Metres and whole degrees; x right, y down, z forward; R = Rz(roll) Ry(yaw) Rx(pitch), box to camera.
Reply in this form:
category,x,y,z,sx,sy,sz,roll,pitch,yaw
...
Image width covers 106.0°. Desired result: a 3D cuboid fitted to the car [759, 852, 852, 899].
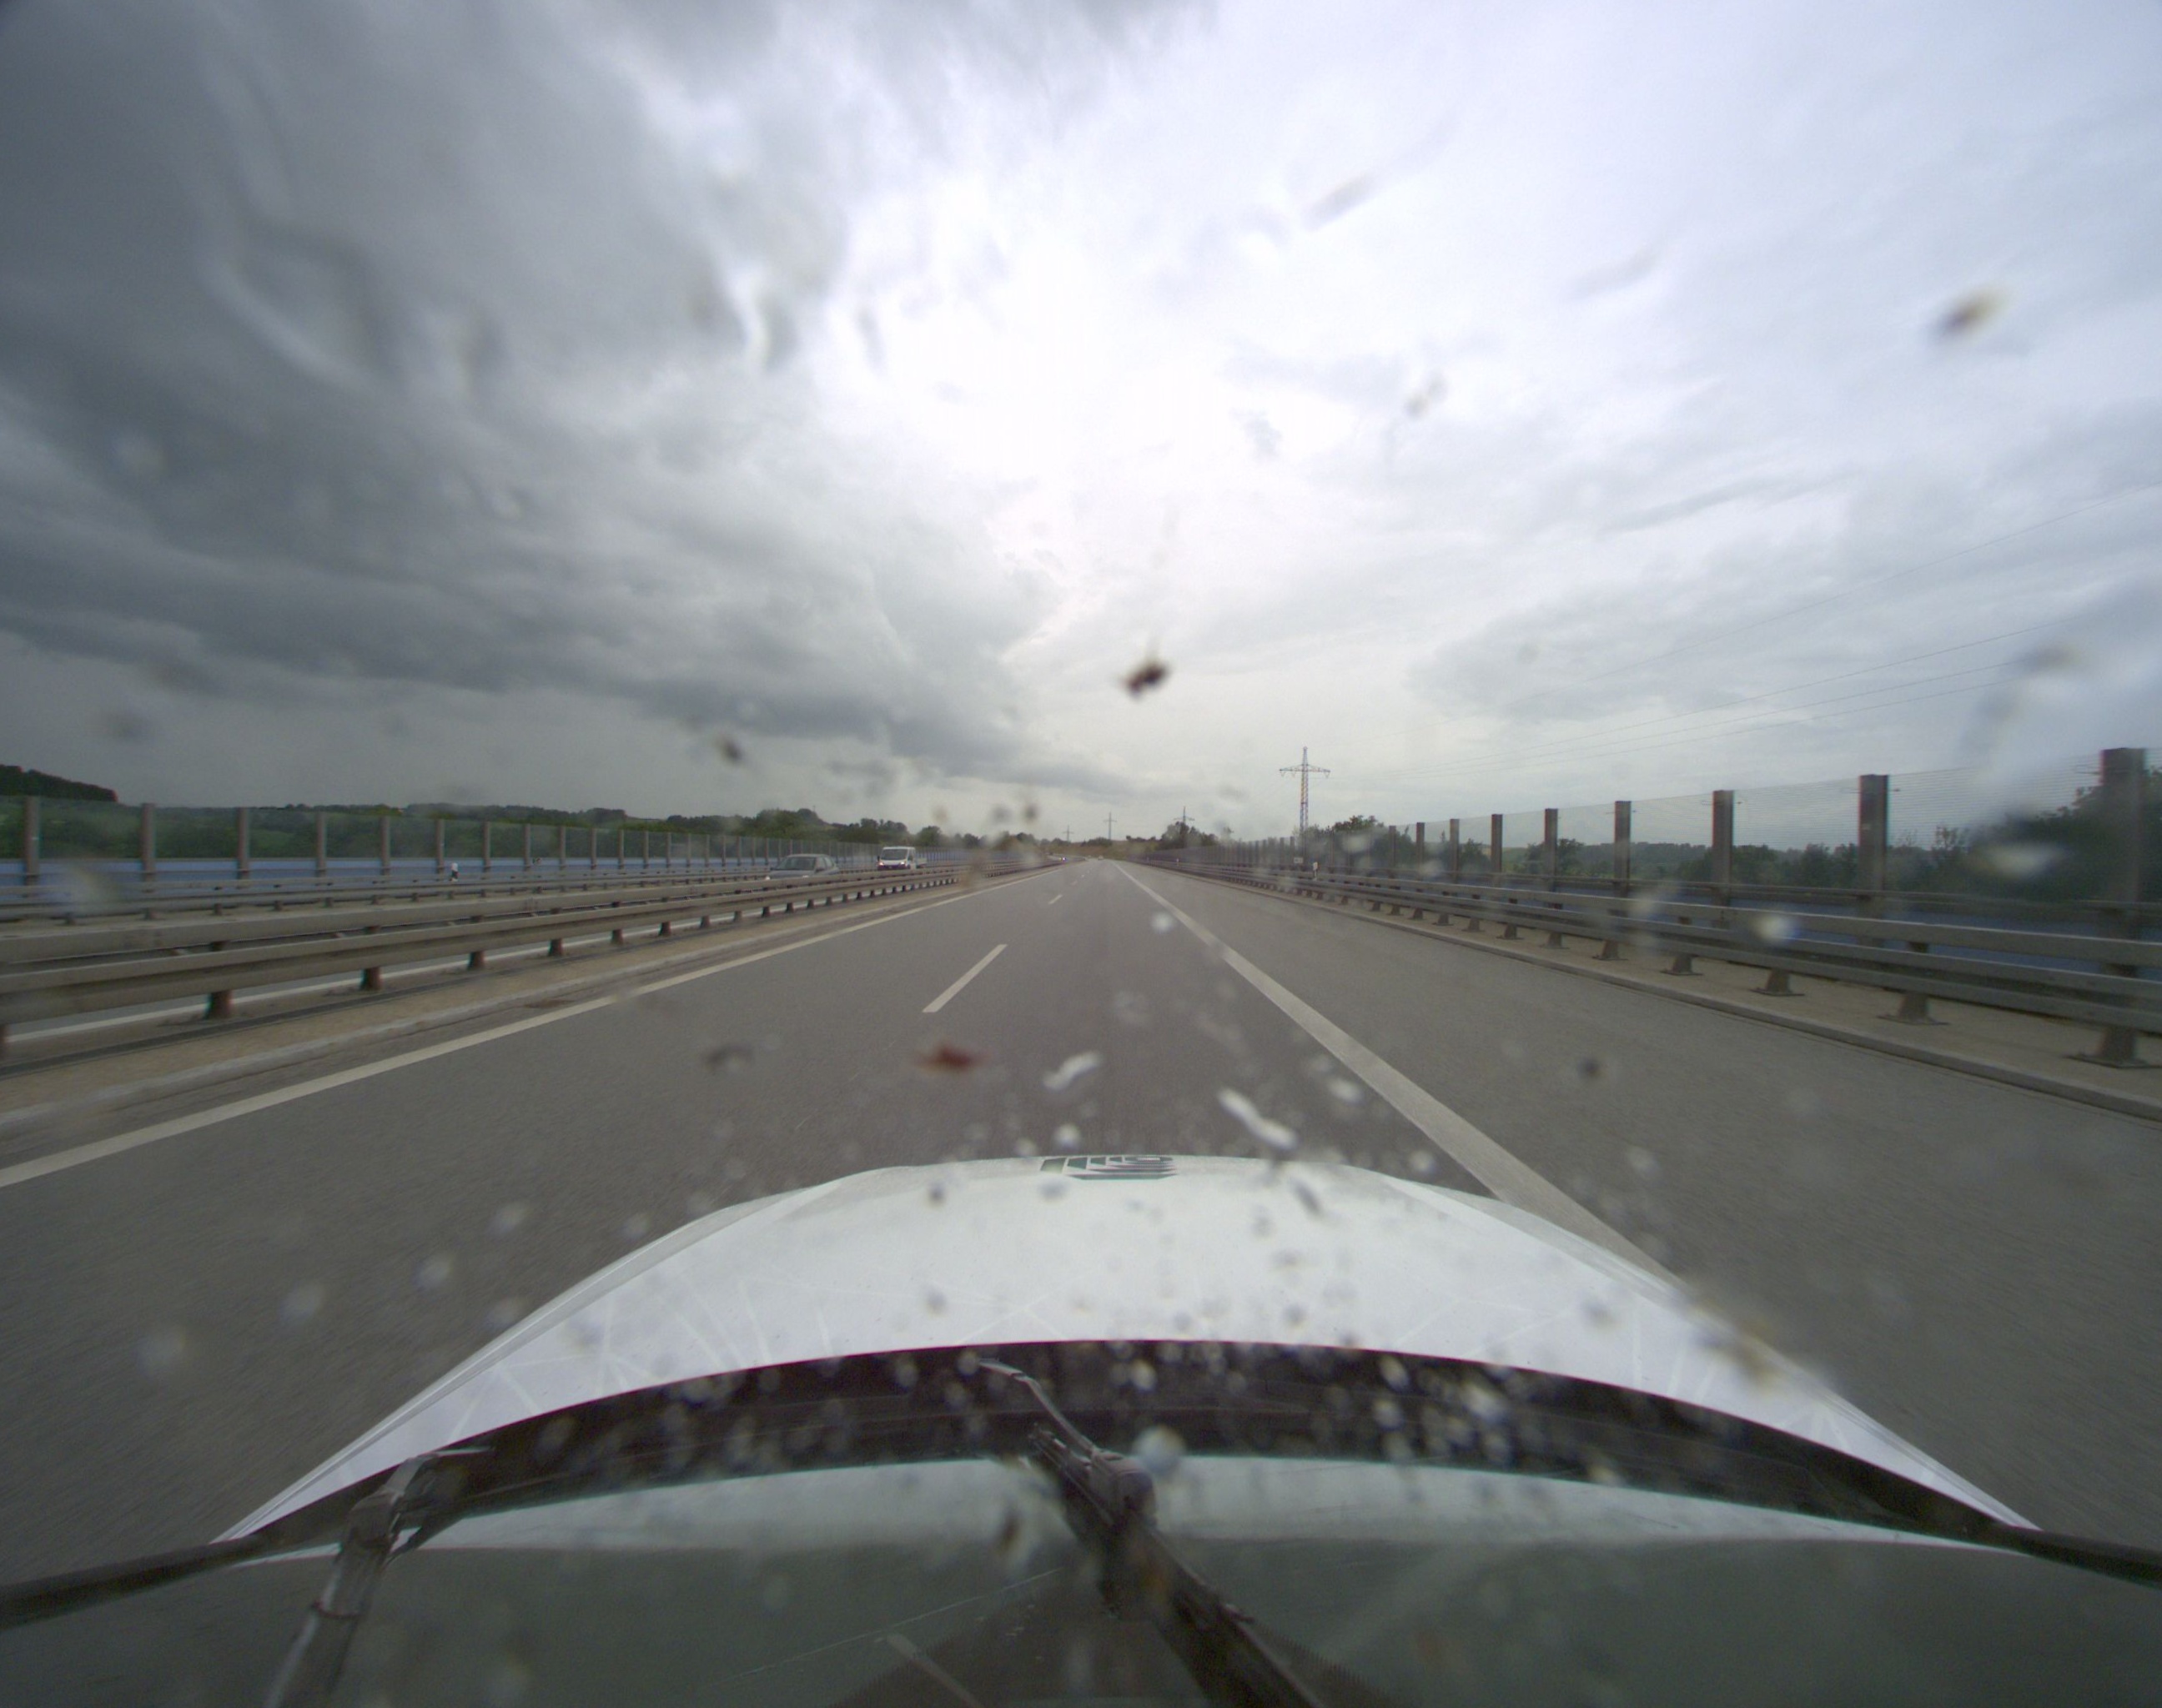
category,x,y,z,sx,sy,sz,roll,pitch,yaw
car,-9.451,0.698,28.274,1.747,1.491,4.002,0,0,2

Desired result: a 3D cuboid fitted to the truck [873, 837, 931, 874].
category,x,y,z,sx,sy,sz,roll,pitch,yaw
truck,-12.528,0.102,57.597,2.264,2.431,7.454,0,0,2
